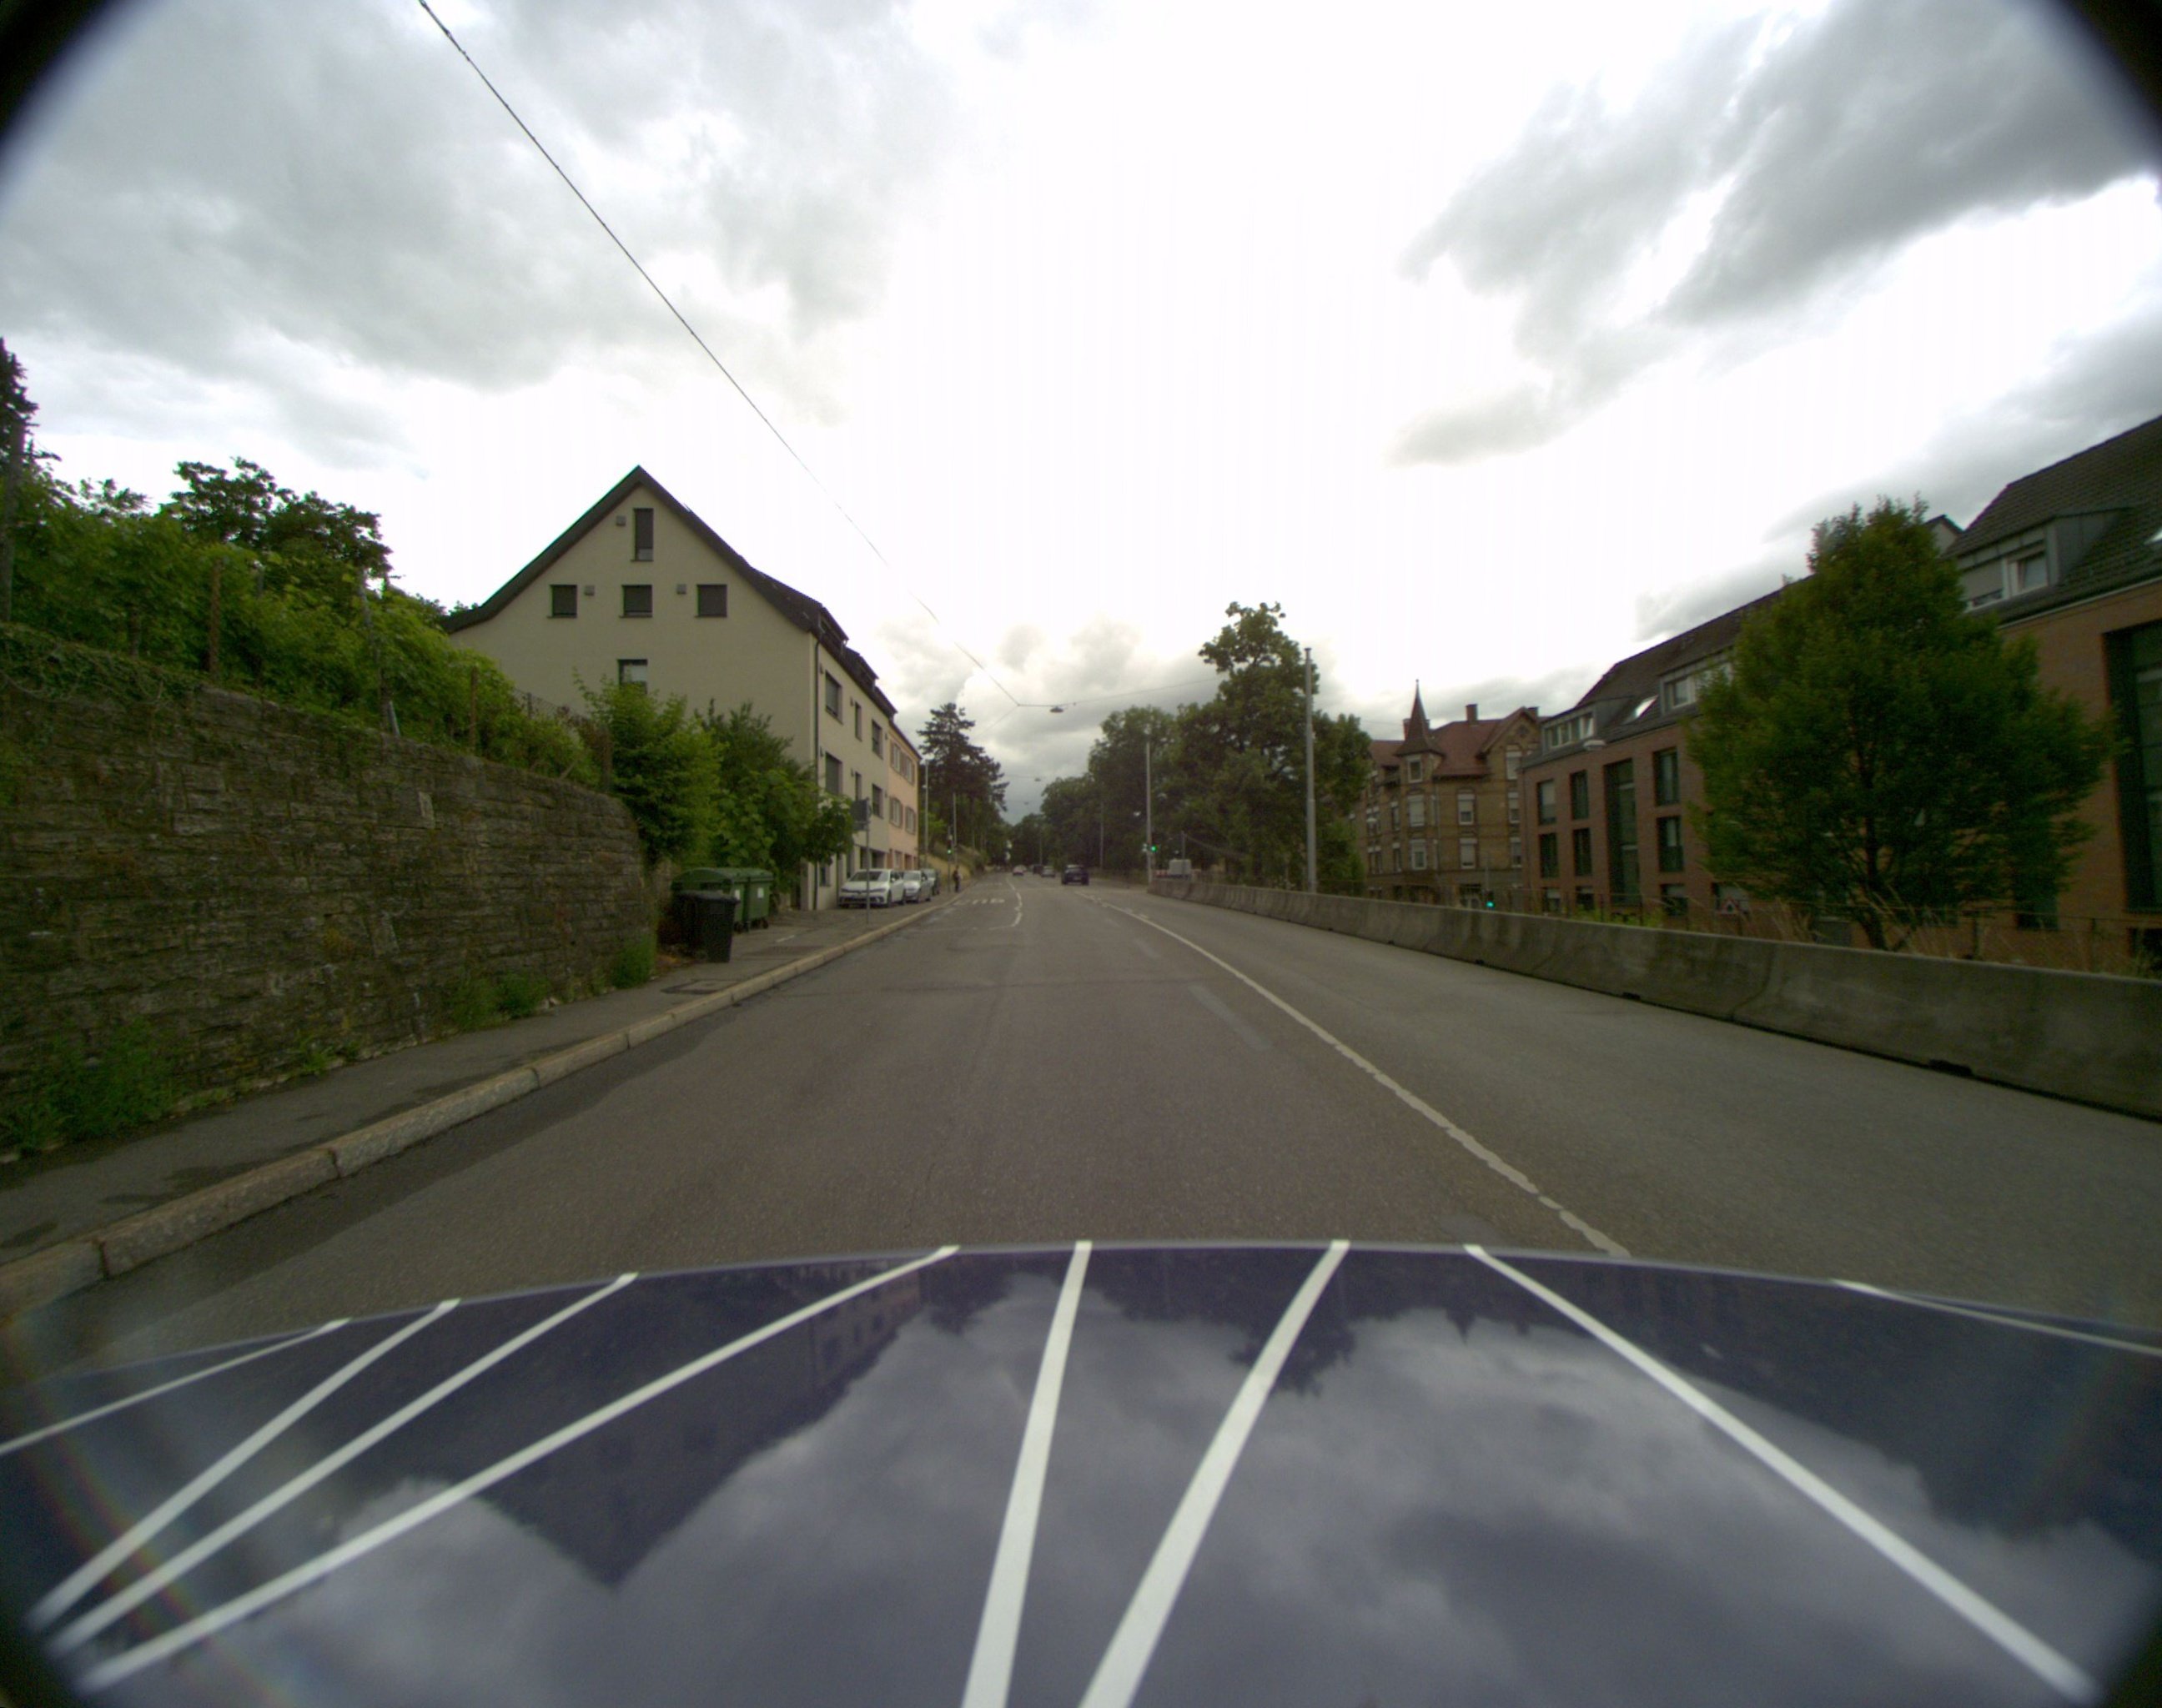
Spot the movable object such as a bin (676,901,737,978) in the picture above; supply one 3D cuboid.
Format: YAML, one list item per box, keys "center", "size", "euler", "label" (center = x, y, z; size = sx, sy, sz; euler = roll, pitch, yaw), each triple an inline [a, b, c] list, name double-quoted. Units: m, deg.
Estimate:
- center: [-5.613, 1.265, 11.423]
  size: [0.745, 1.052, 0.678]
  euler: [-1, 0, -20]
  label: "movable object such as a bin"

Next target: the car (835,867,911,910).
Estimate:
- center: [-7.674, 1.236, 28.419]
  size: [1.799, 1.414, 4.004]
  euler: [1, -1, -1]
  label: "car"

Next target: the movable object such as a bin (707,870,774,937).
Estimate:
- center: [-7.786, 1.111, 17.439]
  size: [1.050, 1.436, 1.204]
  euler: [-1, 0, -4]
  label: "movable object such as a bin"

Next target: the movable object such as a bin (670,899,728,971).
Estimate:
- center: [-6.110, 1.276, 12.202]
  size: [0.745, 1.052, 0.678]
  euler: [-1, 0, -20]
  label: "movable object such as a bin"

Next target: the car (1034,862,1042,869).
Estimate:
- center: [-10.210, 2.777, 180.310]
  size: [1.789, 1.565, 4.279]
  euler: [0, -1, -6]
  label: "car"

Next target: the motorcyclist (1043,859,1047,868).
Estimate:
- center: [-6.083, 1.619, 128.344]
  size: [0.787, 1.507, 0.668]
  euler: [0, 0, -6]
  label: "motorcyclist"

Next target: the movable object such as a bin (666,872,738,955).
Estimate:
- center: [-7.149, 1.085, 14.423]
  size: [1.052, 1.436, 1.416]
  euler: [-1, 0, -20]
  label: "movable object such as a bin"

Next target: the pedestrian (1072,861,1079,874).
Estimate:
- center: [-0.808, 1.925, 109.423]
  size: [0.791, 1.763, 1.208]
  euler: [-4, 0, -8]
  label: "pedestrian"

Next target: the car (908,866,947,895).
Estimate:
- center: [-8.581, 1.440, 42.745]
  size: [1.687, 1.442, 3.998]
  euler: [3, -1, -5]
  label: "car"

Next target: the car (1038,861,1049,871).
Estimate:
- center: [-6.951, 2.175, 139.969]
  size: [1.789, 1.735, 4.426]
  euler: [0, -1, -7]
  label: "car"

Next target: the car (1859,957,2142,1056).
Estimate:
- center: [20.914, 3.404, 17.596]
  size: [1.798, 1.501, 4.001]
  euler: [1, -1, 2]
  label: "car"

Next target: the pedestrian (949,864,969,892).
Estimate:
- center: [-7.617, 1.476, 47.309]
  size: [0.871, 1.686, 0.891]
  euler: [-1, 0, 18]
  label: "pedestrian"

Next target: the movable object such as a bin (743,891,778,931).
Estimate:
- center: [-7.771, 1.375, 18.452]
  size: [0.596, 0.936, 0.640]
  euler: [-1, 0, -4]
  label: "movable object such as a bin"

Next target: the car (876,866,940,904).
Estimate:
- center: [-7.473, 1.316, 33.204]
  size: [1.799, 1.442, 4.718]
  euler: [3, -1, -2]
  label: "car"

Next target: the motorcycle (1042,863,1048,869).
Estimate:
- center: [-6.075, 2.023, 128.254]
  size: [0.787, 1.138, 2.056]
  euler: [0, -1, -6]
  label: "motorcycle"

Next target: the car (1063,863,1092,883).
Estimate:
- center: [-0.325, 1.534, 61.716]
  size: [1.988, 1.565, 4.374]
  euler: [1, -1, -4]
  label: "car"

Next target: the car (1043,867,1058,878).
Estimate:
- center: [-4.072, 2.412, 101.459]
  size: [1.725, 1.436, 4.157]
  euler: [0, -1, -6]
  label: "car"

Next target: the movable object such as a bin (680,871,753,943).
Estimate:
- center: [-7.701, 1.097, 16.141]
  size: [1.051, 1.436, 1.204]
  euler: [-1, 0, -7]
  label: "movable object such as a bin"

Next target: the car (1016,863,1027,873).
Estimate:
- center: [-9.549, 2.216, 121.889]
  size: [1.789, 1.565, 4.279]
  euler: [0, -1, -6]
  label: "car"

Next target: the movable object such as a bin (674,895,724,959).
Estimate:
- center: [-6.735, 1.281, 13.431]
  size: [0.712, 1.052, 0.546]
  euler: [-1, 0, -20]
  label: "movable object such as a bin"
